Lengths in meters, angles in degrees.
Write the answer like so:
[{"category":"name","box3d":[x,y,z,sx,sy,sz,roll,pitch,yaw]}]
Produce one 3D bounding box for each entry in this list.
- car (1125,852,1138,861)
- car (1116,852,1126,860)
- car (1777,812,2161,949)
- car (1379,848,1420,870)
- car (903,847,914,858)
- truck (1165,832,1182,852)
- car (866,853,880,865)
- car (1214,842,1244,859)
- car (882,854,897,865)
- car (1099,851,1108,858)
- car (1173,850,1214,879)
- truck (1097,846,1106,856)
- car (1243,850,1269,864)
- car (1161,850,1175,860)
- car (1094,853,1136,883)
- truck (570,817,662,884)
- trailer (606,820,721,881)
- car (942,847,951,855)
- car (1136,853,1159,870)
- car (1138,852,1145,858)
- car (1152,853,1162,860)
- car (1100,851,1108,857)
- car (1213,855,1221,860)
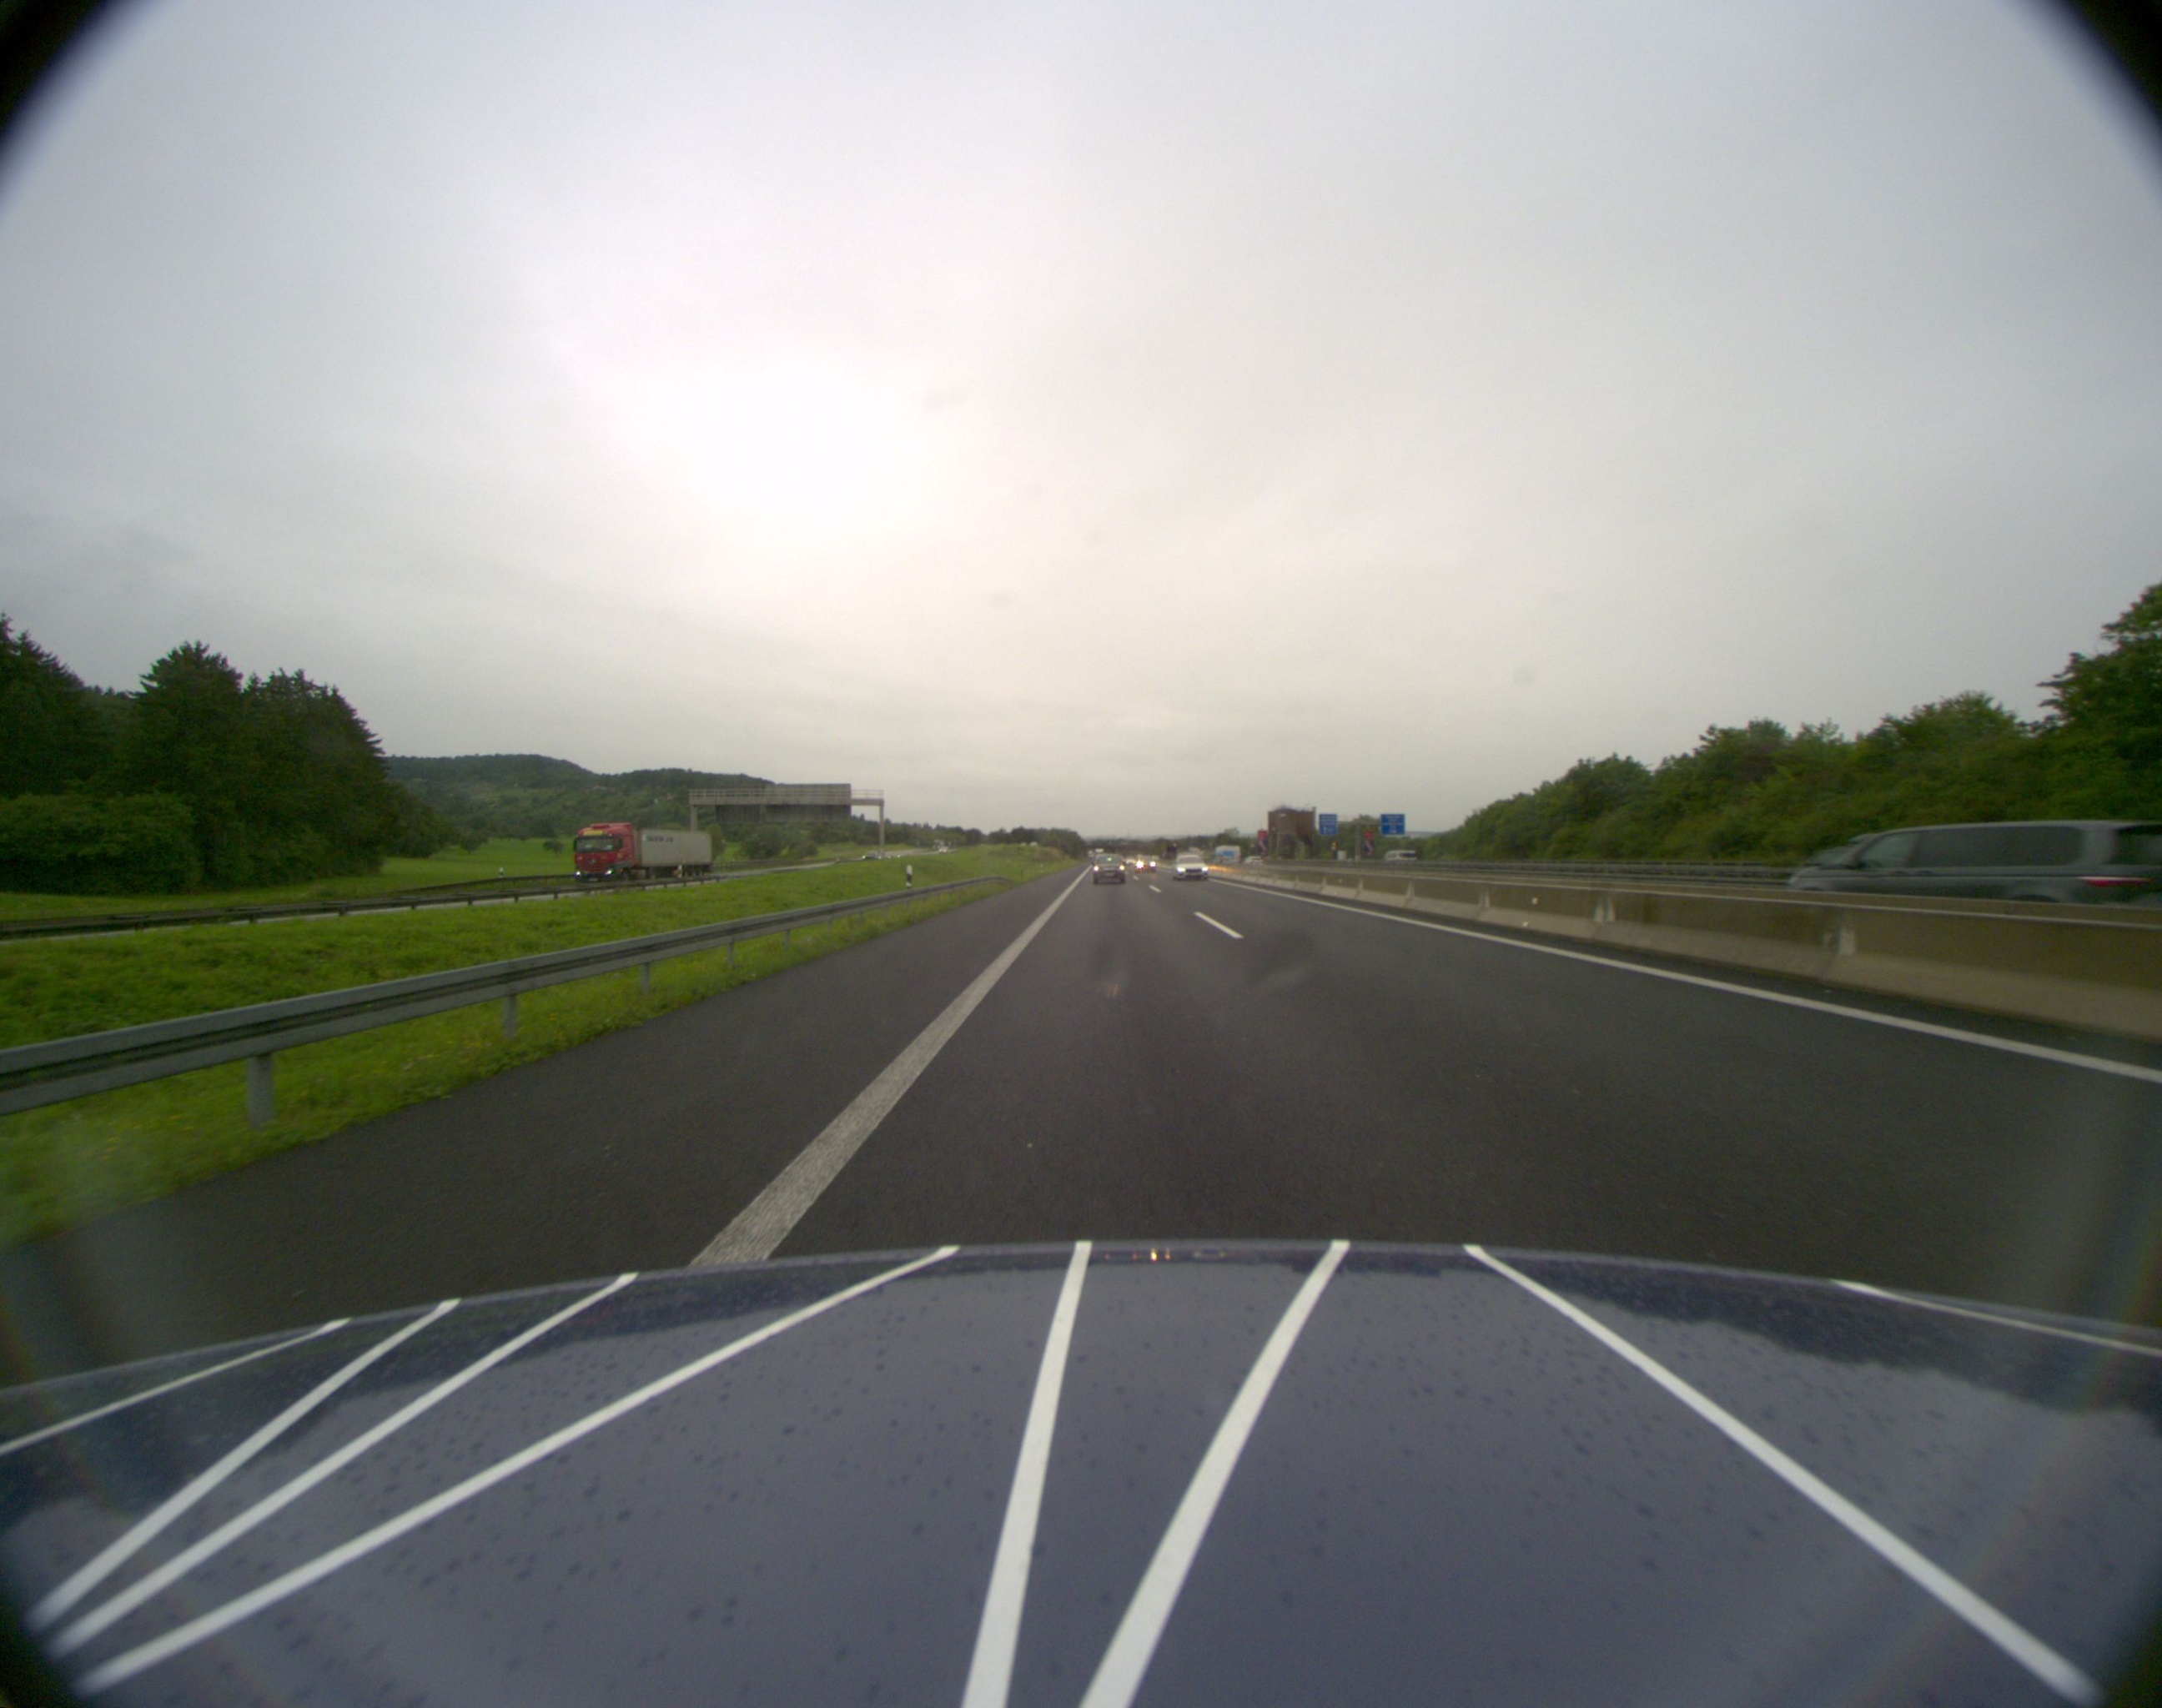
[{"category":"car","box3d":[8.311,0.474,124.998,1.941,1.341,4.000,-3,0,1]},{"category":"car","box3d":[8.703,0.474,166.249,1.998,1.565,4.000,-2,0,2]},{"category":"car","box3d":[13.935,0.279,11.604,1.998,1.641,5.026,-2,0,0]},{"category":"car","box3d":[30.737,0.425,73.461,1.998,2.002,4.715,-2,0,1]},{"category":"car","box3d":[-33.118,-0.252,145.802,1.654,2.002,3.997,-1,0,-8]},{"category":"truck","box3d":[23.091,-2.869,189.866,3.407,4.705,10.487,-2,0,4]},{"category":"car","box3d":[-36.050,0.912,131.696,1.653,2.002,3.997,-1,0,-7]},{"category":"car","box3d":[15.917,-0.347,82.029,2.363,1.683,5.907,-1,0,3]},{"category":"car","box3d":[-31.362,0.847,124.658,2.000,1.710,4.315,-1,0,-8]},{"category":"car","box3d":[5.368,0.117,181.438,1.941,1.341,4.001,-3,0,2]},{"category":"car","box3d":[6.736,0.602,45.770,1.998,1.582,4.817,-2,0,4]},{"category":"truck","box3d":[6.866,-0.905,249.112,2.727,3.098,7.961,-3,0,2]},{"category":"car","box3d":[19.971,0.300,86.814,1.998,1.427,4.679,-2,0,1]},{"category":"car","box3d":[16.259,0.172,142.573,1.998,1.825,4.679,-2,0,0]},{"category":"car","box3d":[2.011,0.775,44.112,2.242,1.565,4.817,-2,0,3]},{"category":"truck","box3d":[-29.918,-0.242,49.199,2.515,3.963,5.925,-3,1,-5]},{"category":"trailer","box3d":[-30.504,-0.265,56.367,2.498,3.961,12.399,-3,0,-5]},{"category":"car","box3d":[-36.827,-0.780,208.194,1.999,2.002,3.999,-1,0,-3]},{"category":"car","box3d":[6.011,0.633,69.029,1.834,1.417,4.368,-2,0,3]},{"category":"car","box3d":[20.125,0.421,252.527,1.998,1.852,5.221,0,0,1]},{"category":"car","box3d":[18.511,0.596,185.293,2.161,1.755,4.961,-1,0,2]},{"category":"car","box3d":[5.610,0.053,187.700,1.941,1.341,4.001,-3,0,2]},{"category":"car","box3d":[34.862,0.916,195.132,1.526,1.390,4.000,-2,0,2]}]
